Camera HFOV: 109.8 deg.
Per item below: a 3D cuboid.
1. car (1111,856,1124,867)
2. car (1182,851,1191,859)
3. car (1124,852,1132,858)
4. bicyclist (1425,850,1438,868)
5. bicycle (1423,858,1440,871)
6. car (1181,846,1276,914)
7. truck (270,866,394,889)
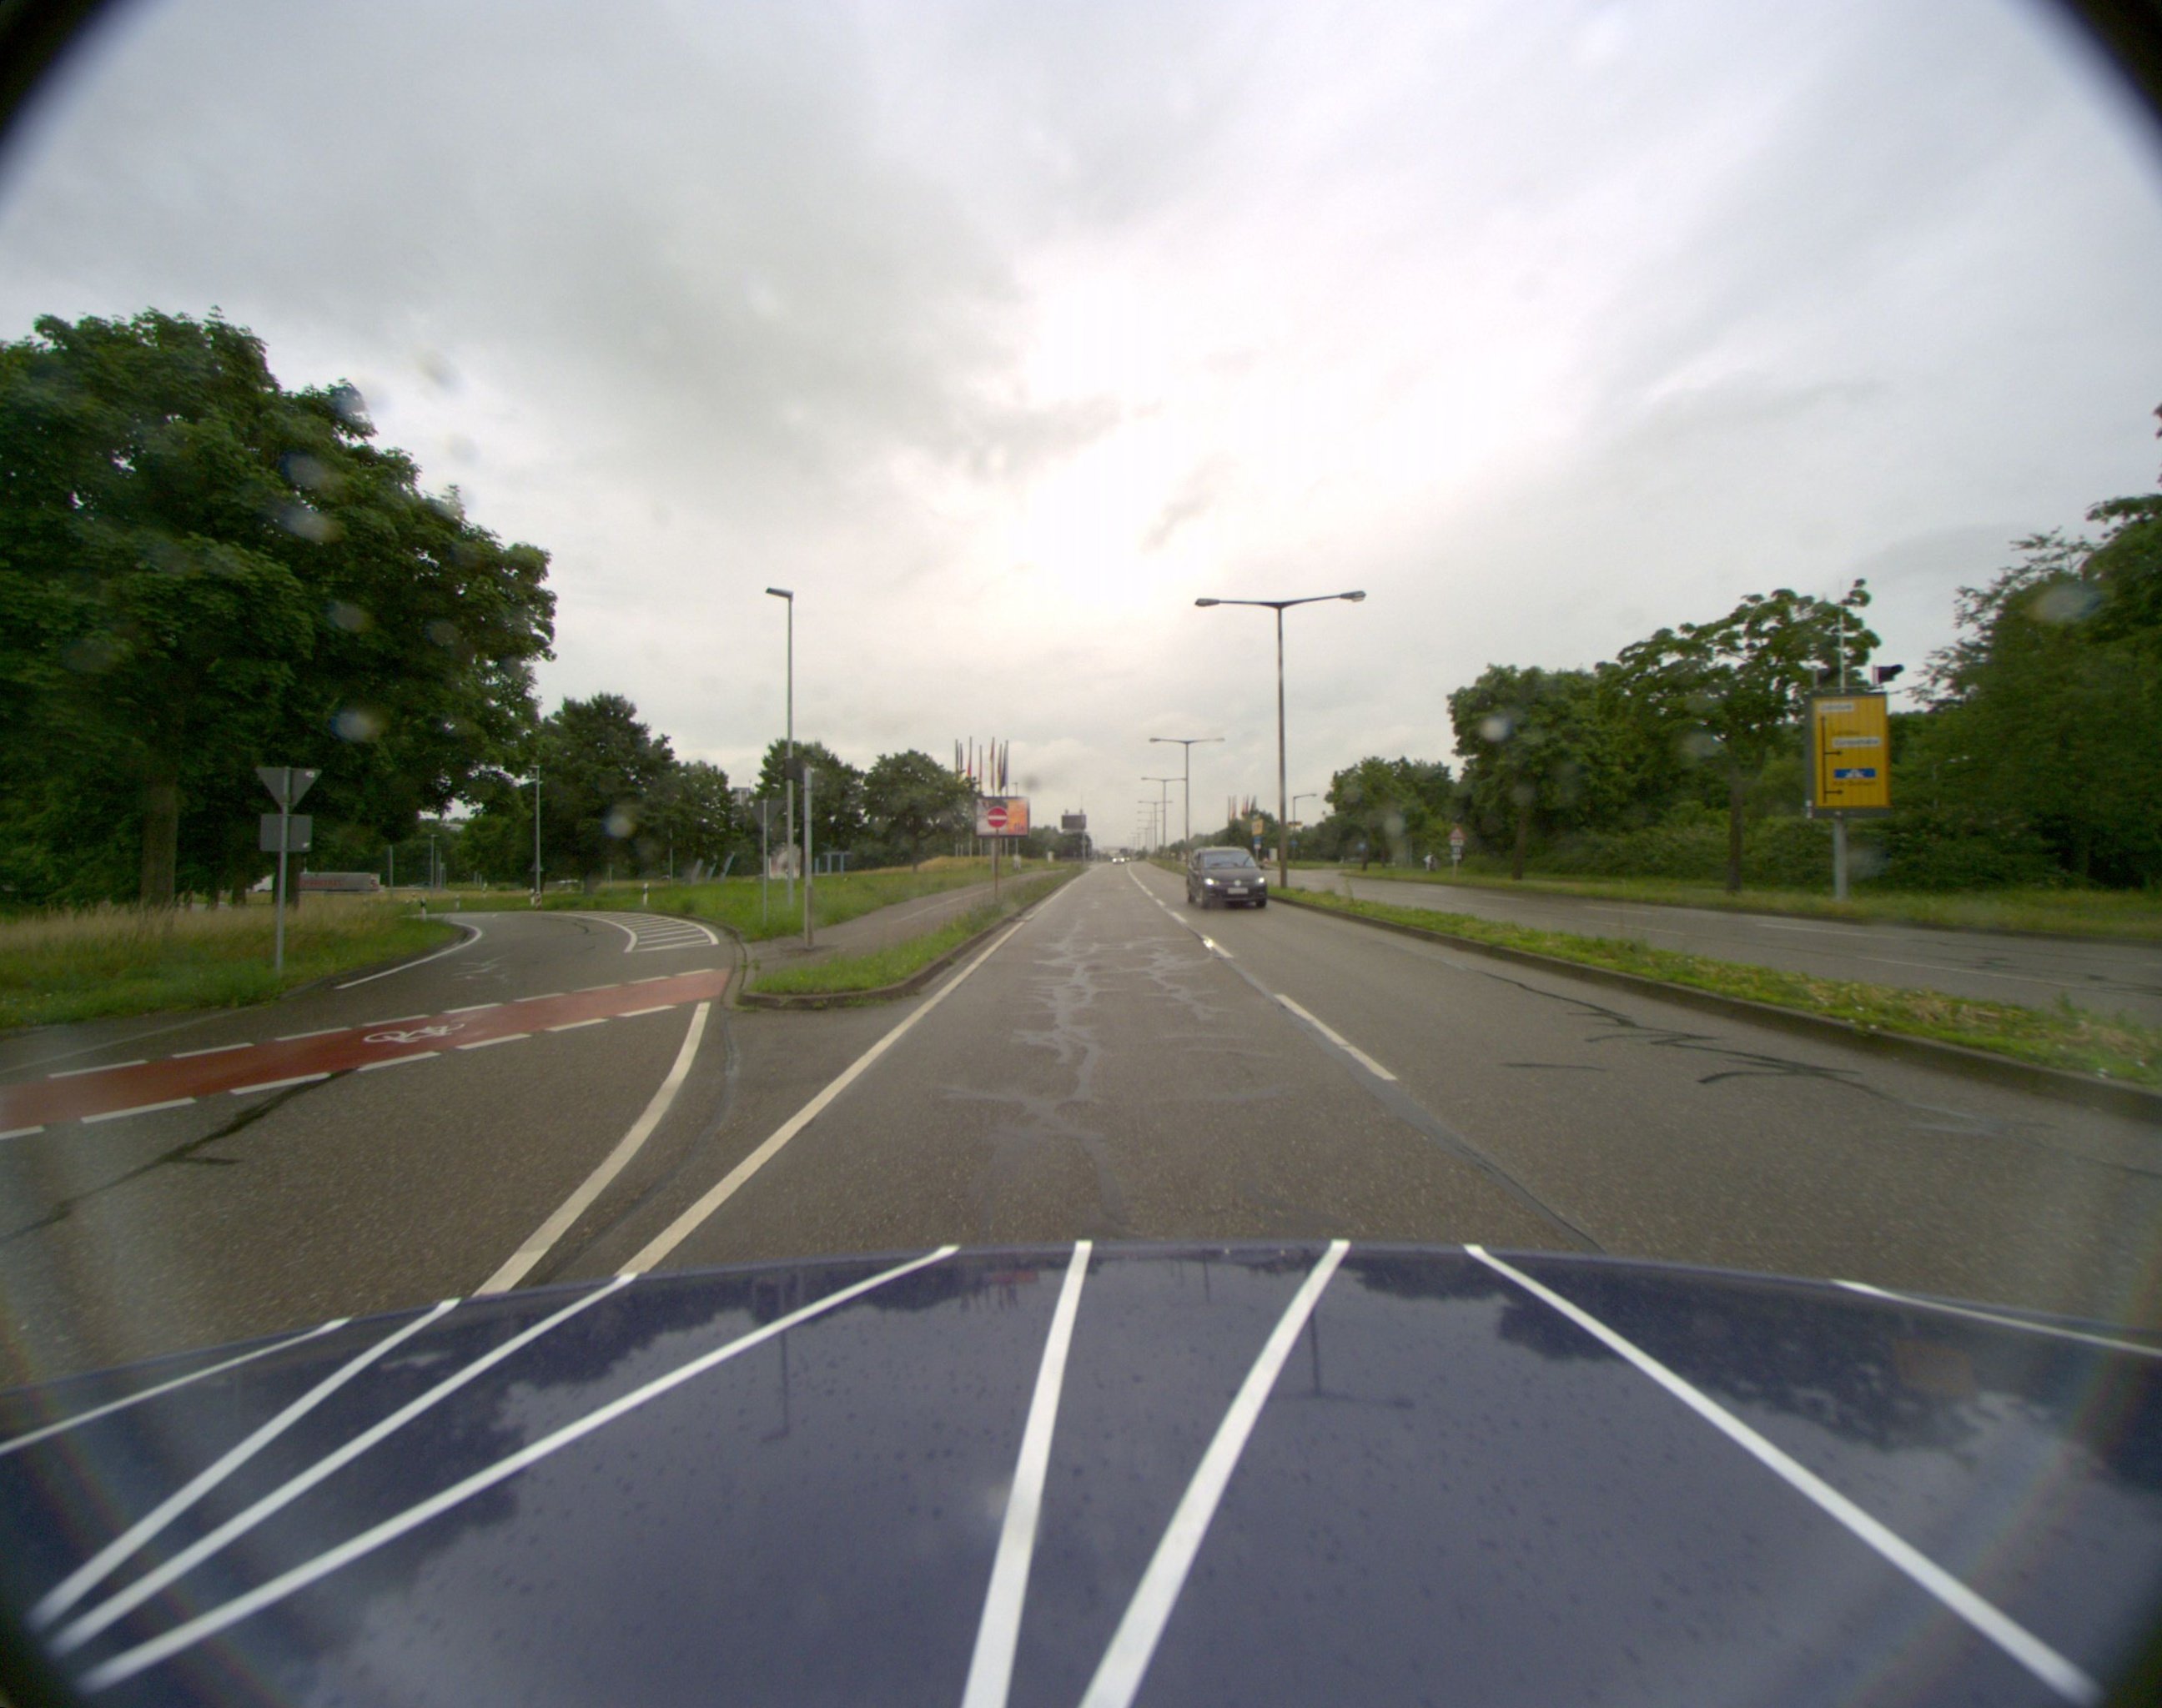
[{"bbox_3d":[6.089,1.227,127.383,1.998,1.700,4.000,-1,0,2],"label":"car"},{"bbox_3d":[24.525,0.208,177.094,1.711,1.620,4.492,1,0,3],"label":"car"},{"bbox_3d":[12.414,0.259,200.759,1.998,1.703,4.001,-1,0,2],"label":"car"},{"bbox_3d":[25.344,0.381,54.964,0.523,1.295,0.808,-2,1,3],"label":"bicyclist"},{"bbox_3d":[25.359,0.760,54.973,0.523,0.880,1.634,-2,0,3],"label":"bicycle"},{"bbox_3d":[4.186,0.678,22.377,1.850,1.740,4.817,-1,0,0],"label":"car"},{"bbox_3d":[-132.350,4.134,134.591,16.274,3.371,2.745,-2,1,-15],"label":"truck"}]
